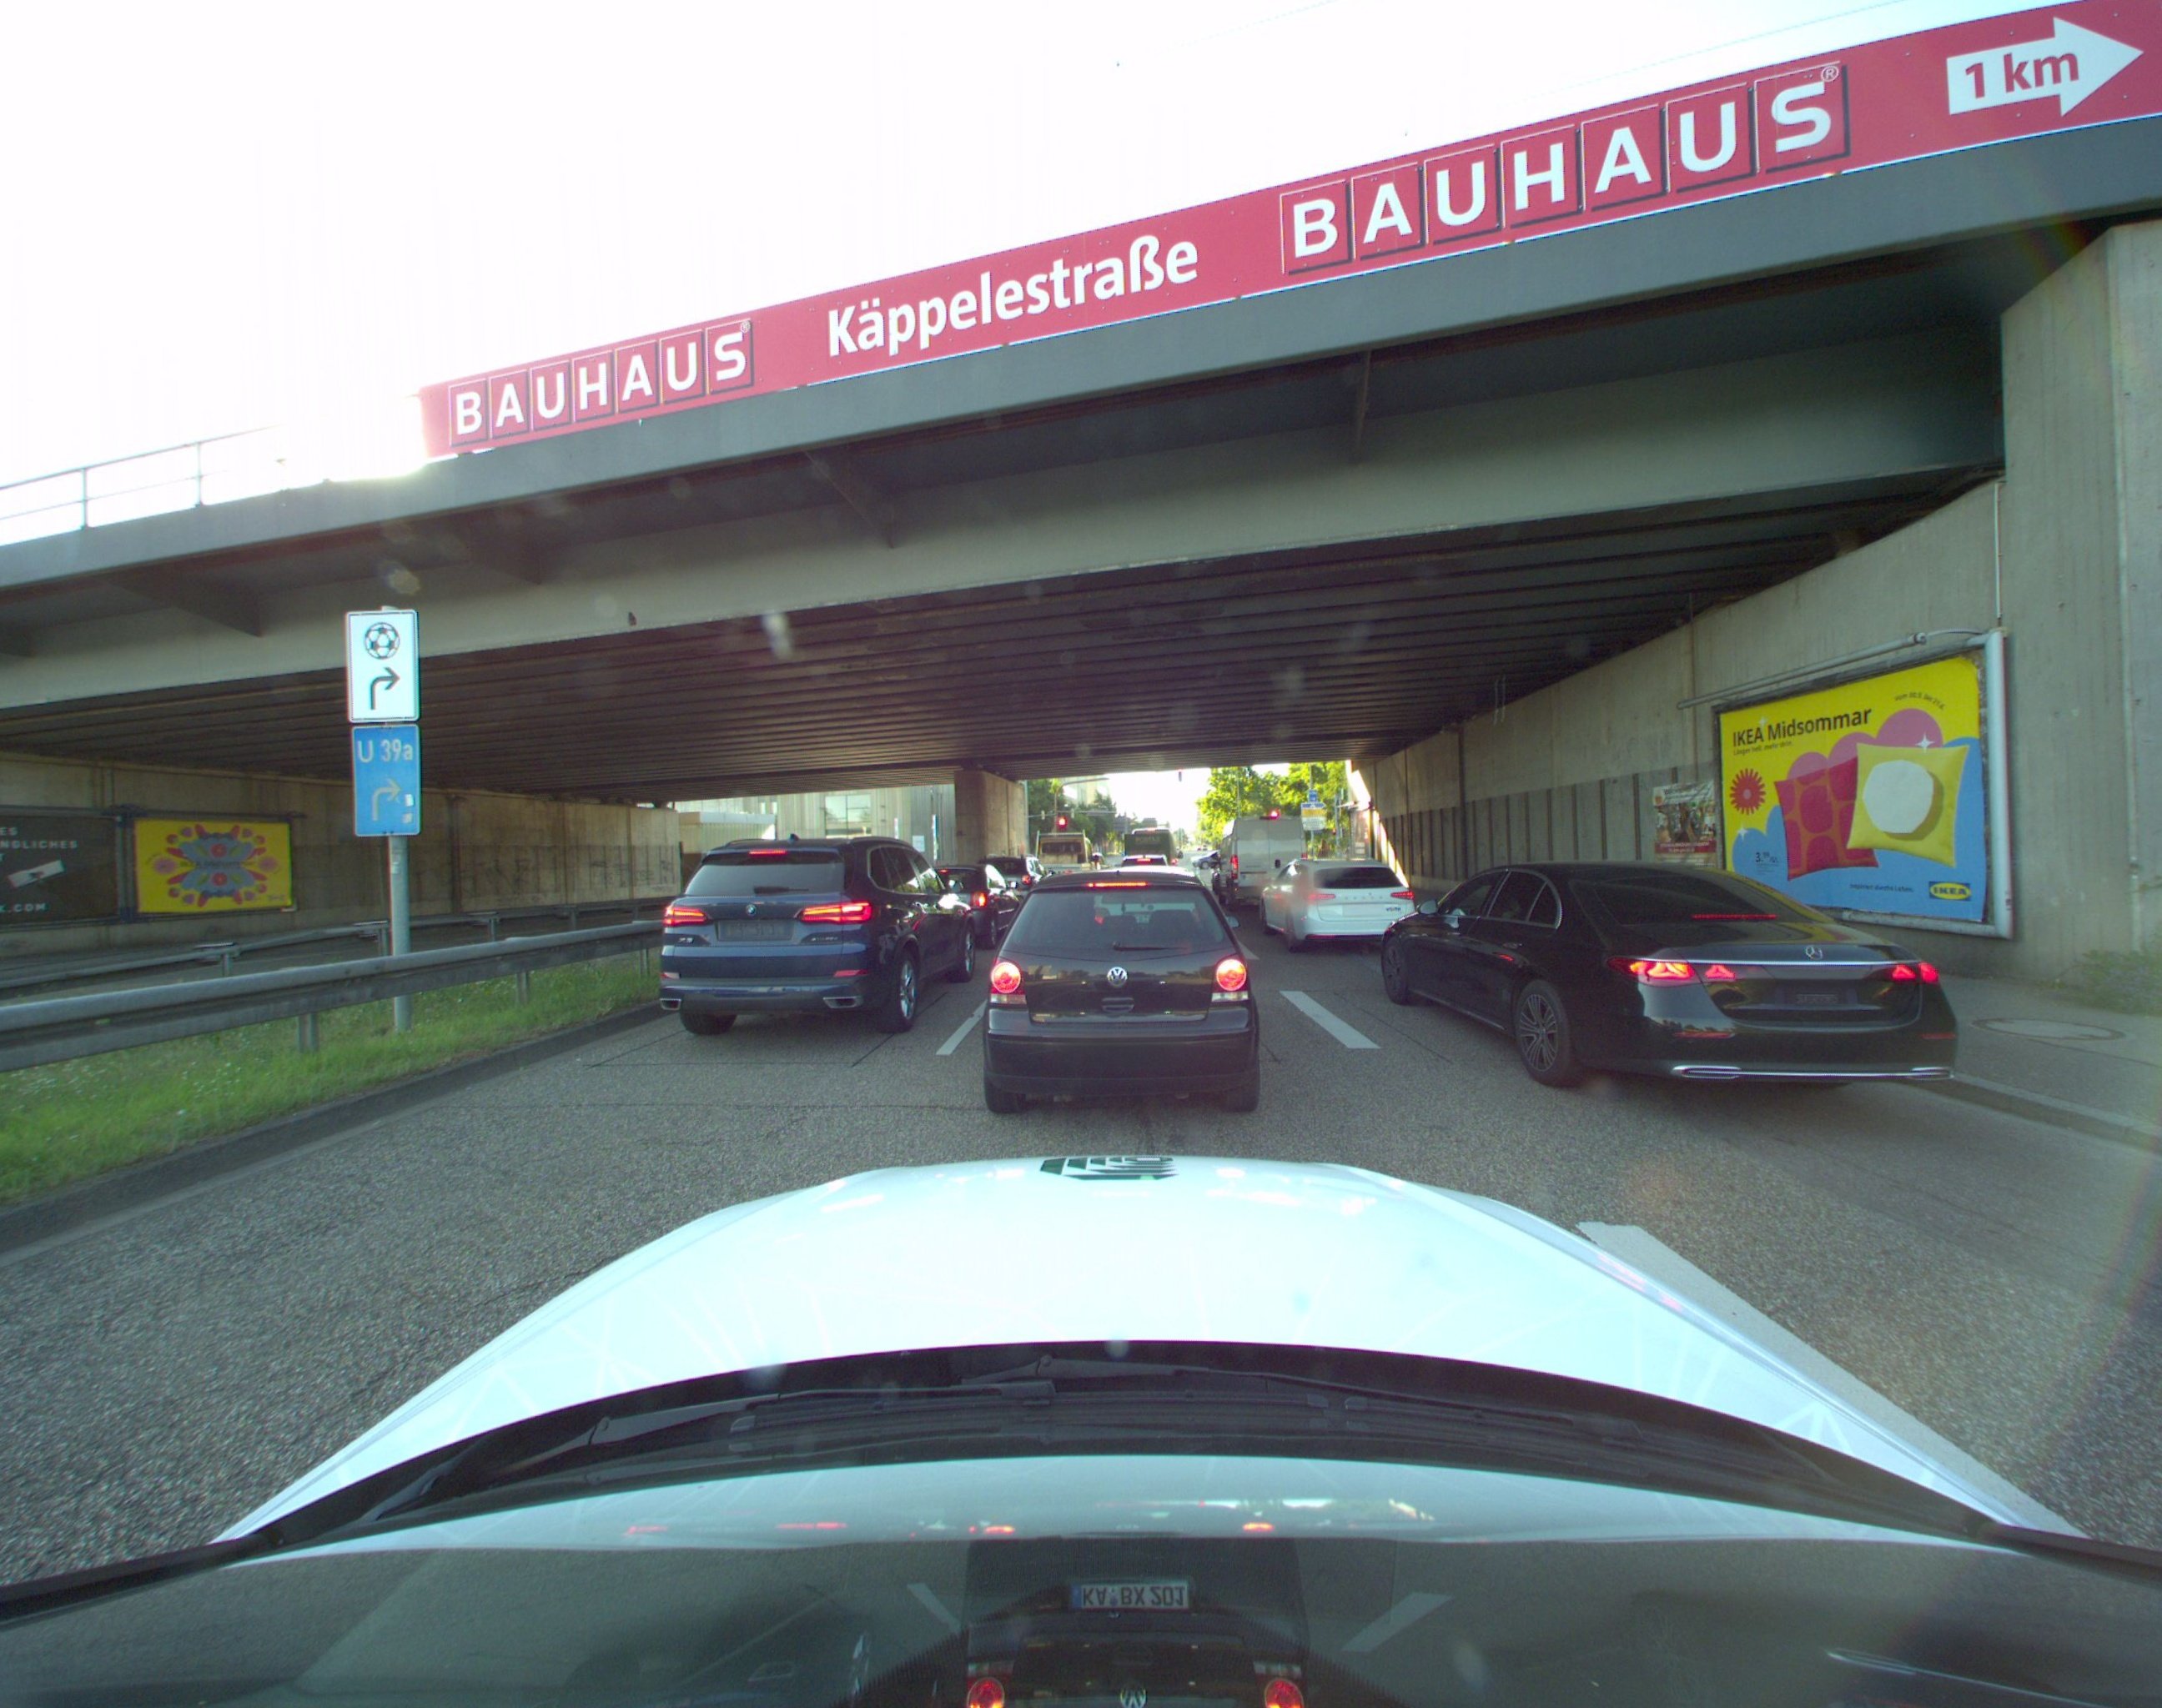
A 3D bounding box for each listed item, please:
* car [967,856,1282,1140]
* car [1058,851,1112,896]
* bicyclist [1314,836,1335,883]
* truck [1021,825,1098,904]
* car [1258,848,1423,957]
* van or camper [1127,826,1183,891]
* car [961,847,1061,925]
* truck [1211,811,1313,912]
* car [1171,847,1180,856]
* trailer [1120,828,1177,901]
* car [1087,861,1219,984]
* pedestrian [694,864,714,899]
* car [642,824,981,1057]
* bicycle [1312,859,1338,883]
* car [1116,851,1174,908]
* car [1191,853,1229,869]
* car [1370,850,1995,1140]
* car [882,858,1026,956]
[{"bbox_3d":[0.256,0.772,6.060,1.576,1.409,3.832,-1,-1,1],"label":"car"},{"bbox_3d":[0.248,0.881,37.659,1.983,1.901,4.007,-2,-1,7],"label":"car"},{"bbox_3d":[10.163,0.238,34.043,0.678,1.907,0.835,-2,-1,8],"label":"bicyclist"},{"bbox_3d":[-0.658,0.399,29.485,2.018,2.557,5.546,-2,-1,6],"label":"truck"},{"bbox_3d":[4.150,0.737,13.669,1.764,1.495,3.836,-3,-1,5],"label":"car"},{"bbox_3d":[3.351,0.240,35.902,1.982,2.571,5.932,-2,-1,9],"label":"van or camper"},{"bbox_3d":[-1.735,0.802,21.445,1.833,1.719,4.005,-5,-1,5],"label":"car"},{"bbox_3d":[5.067,0.223,23.424,2.102,2.519,4.405,-3,-1,4],"label":"truck"},{"bbox_3d":[16.385,-0.435,141.268,1.335,1.281,2.893,-5,-1,1],"label":"car"},{"bbox_3d":[2.592,0.401,30.570,1.854,2.465,3.839,-3,-1,7],"label":"trailer"},{"bbox_3d":[0.970,0.818,11.329,1.540,1.423,3.421,0,0,4],"label":"car"},{"bbox_3d":[-20.734,1.503,44.807,0.690,1.904,0.666,-2,-1,7],"label":"pedestrian"},{"bbox_3d":[-2.360,0.709,8.496,1.822,1.738,4.464,-2,-1,3],"label":"car"},{"bbox_3d":[10.178,0.710,34.044,0.575,0.963,2.892,-2,-1,8],"label":"bicycle"},{"bbox_3d":[1.959,0.749,24.543,1.574,1.532,3.837,-1,-1,5],"label":"car"},{"bbox_3d":[9.879,0.547,62.209,2.806,1.081,1.221,-2,-1,8],"label":"car"},{"bbox_3d":[3.915,0.719,6.506,1.733,1.454,4.609,-1,0,2],"label":"car"},{"bbox_3d":[-2.183,0.894,15.022,1.834,1.440,3.677,-5,-1,2],"label":"car"}]
